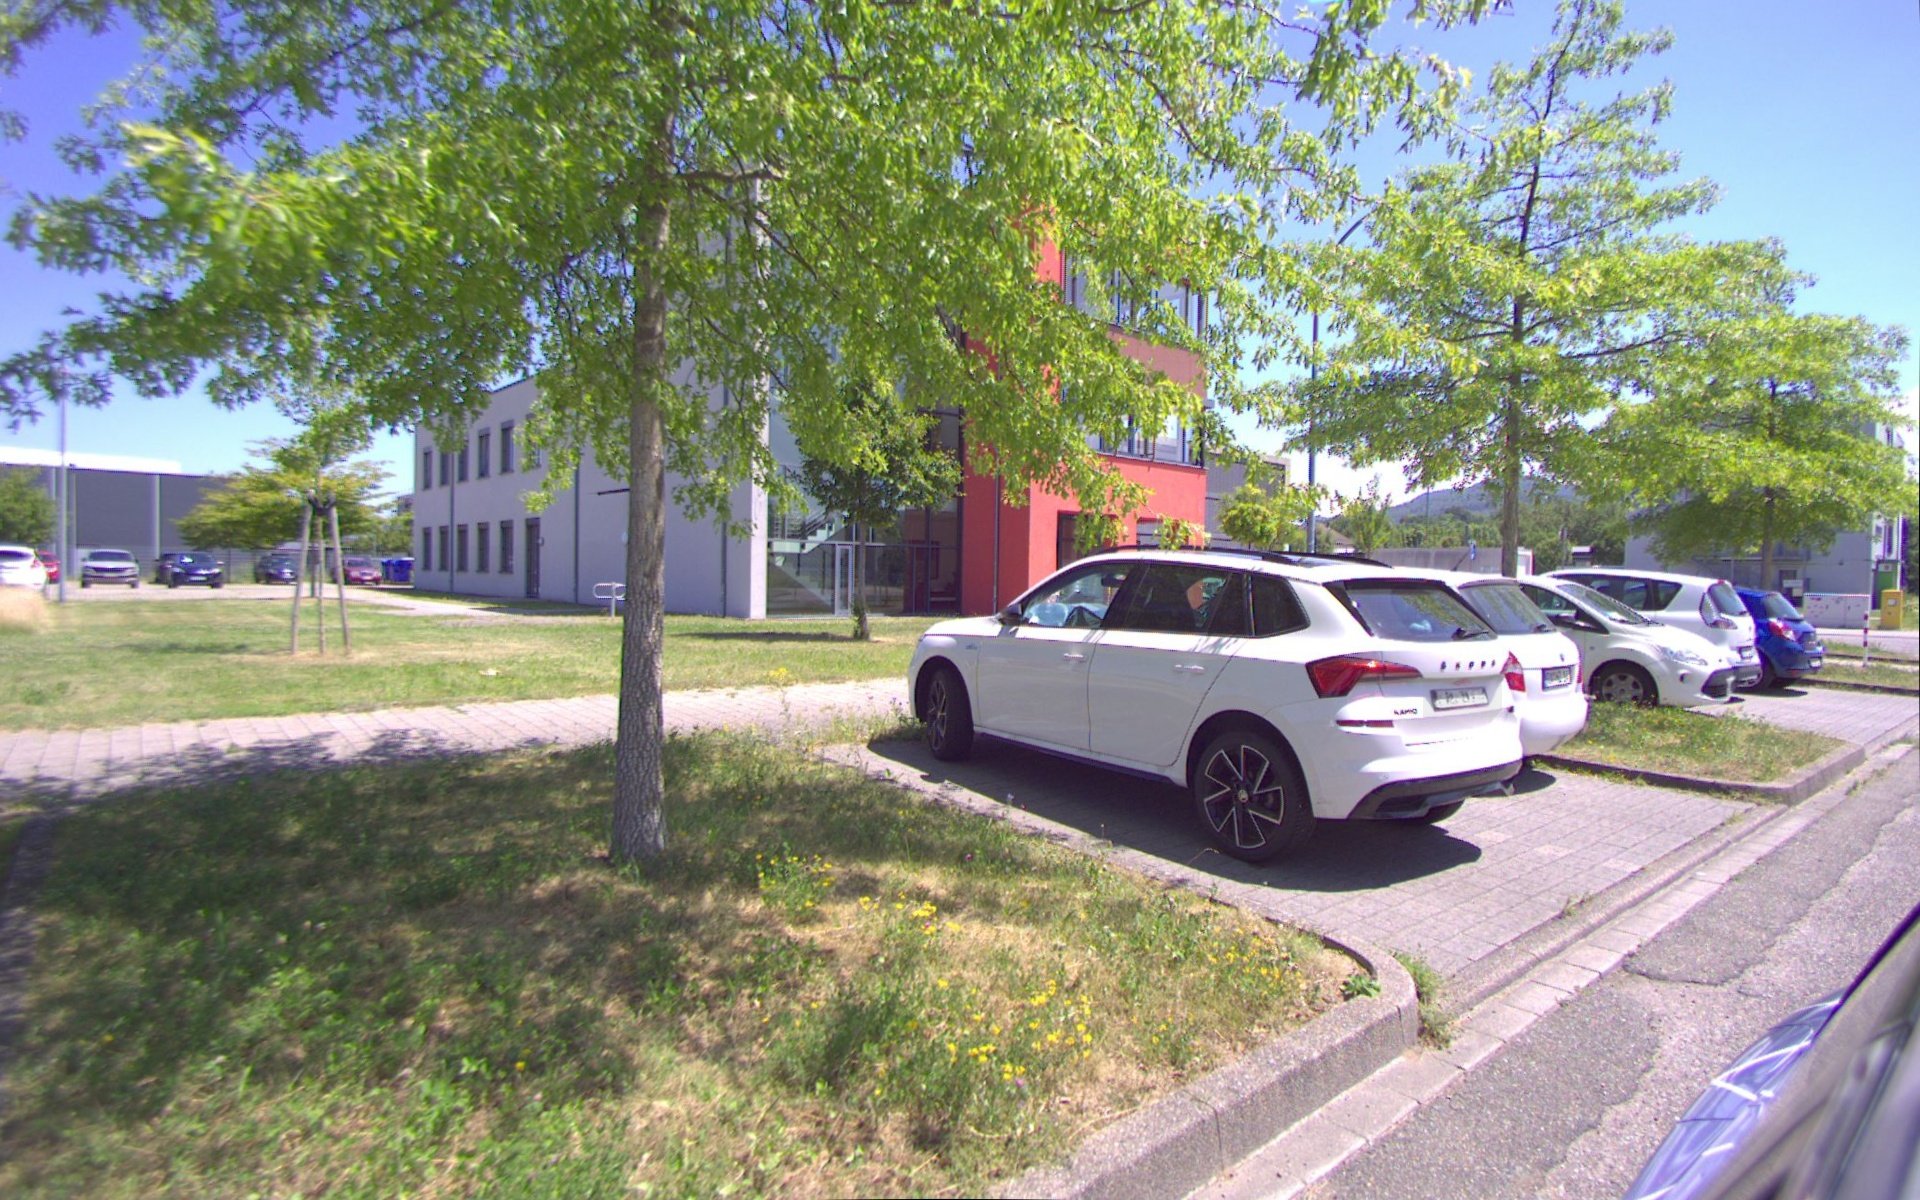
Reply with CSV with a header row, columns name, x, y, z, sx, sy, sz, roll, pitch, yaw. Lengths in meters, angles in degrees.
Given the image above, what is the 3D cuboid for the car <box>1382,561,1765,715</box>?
name,x,y,z,sx,sy,sz,roll,pitch,yaw
car,7.300,0.338,12.340,1.581,1.481,3.628,1,3,-38

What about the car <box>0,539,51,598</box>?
name,x,y,z,sx,sy,sz,roll,pitch,yaw
car,-25.817,-0.877,27.374,1.689,1.528,3.330,0,2,-40

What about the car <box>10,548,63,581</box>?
name,x,y,z,sx,sy,sz,roll,pitch,yaw
car,-44.005,-1.705,48.258,1.689,1.528,3.996,0,3,-40

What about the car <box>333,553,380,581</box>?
name,x,y,z,sx,sy,sz,roll,pitch,yaw
car,-34.288,-1.886,57.484,1.689,1.528,3.996,0,3,-40

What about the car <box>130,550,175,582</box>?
name,x,y,z,sx,sy,sz,roll,pitch,yaw
car,-40.689,-1.737,50.976,1.689,1.528,3.996,0,3,-40

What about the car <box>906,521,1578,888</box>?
name,x,y,z,sx,sy,sz,roll,pitch,yaw
car,1.426,0.372,6.418,1.745,1.572,3.849,1,2,-35

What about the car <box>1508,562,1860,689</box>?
name,x,y,z,sx,sy,sz,roll,pitch,yaw
car,10.935,0.284,15.556,1.695,1.508,4.010,1,4,-36

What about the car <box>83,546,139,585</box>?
name,x,y,z,sx,sy,sz,roll,pitch,yaw
car,-35.097,-1.442,41.789,1.689,1.528,3.994,0,3,-41

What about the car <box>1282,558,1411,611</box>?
name,x,y,z,sx,sy,sz,roll,pitch,yaw
car,13.986,-0.565,36.739,1.778,1.798,3.994,2,-1,-41

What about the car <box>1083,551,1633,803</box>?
name,x,y,z,sx,sy,sz,roll,pitch,yaw
car,3.041,0.408,8.370,1.748,1.543,3.843,0,3,-40

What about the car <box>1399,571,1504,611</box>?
name,x,y,z,sx,sy,sz,roll,pitch,yaw
car,20.612,-0.403,42.552,1.655,1.519,3.622,-4,4,-42

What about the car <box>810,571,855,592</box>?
name,x,y,z,sx,sy,sz,roll,pitch,yaw
car,-9.787,-1.464,77.344,1.631,1.487,3.622,-4,4,-42

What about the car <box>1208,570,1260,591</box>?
name,x,y,z,sx,sy,sz,roll,pitch,yaw
car,21.022,-1.519,77.773,1.630,1.519,3.624,-3,4,-40

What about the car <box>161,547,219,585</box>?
name,x,y,z,sx,sy,sz,roll,pitch,yaw
car,-32.992,-1.471,43.329,1.689,1.528,3.994,0,3,-41

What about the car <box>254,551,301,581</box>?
name,x,y,z,sx,sy,sz,roll,pitch,yaw
car,-36.948,-1.831,54.728,1.689,1.528,3.996,0,3,-40

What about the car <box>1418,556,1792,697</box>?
name,x,y,z,sx,sy,sz,roll,pitch,yaw
car,8.983,0.250,14.406,1.742,1.670,4.121,1,2,-38
